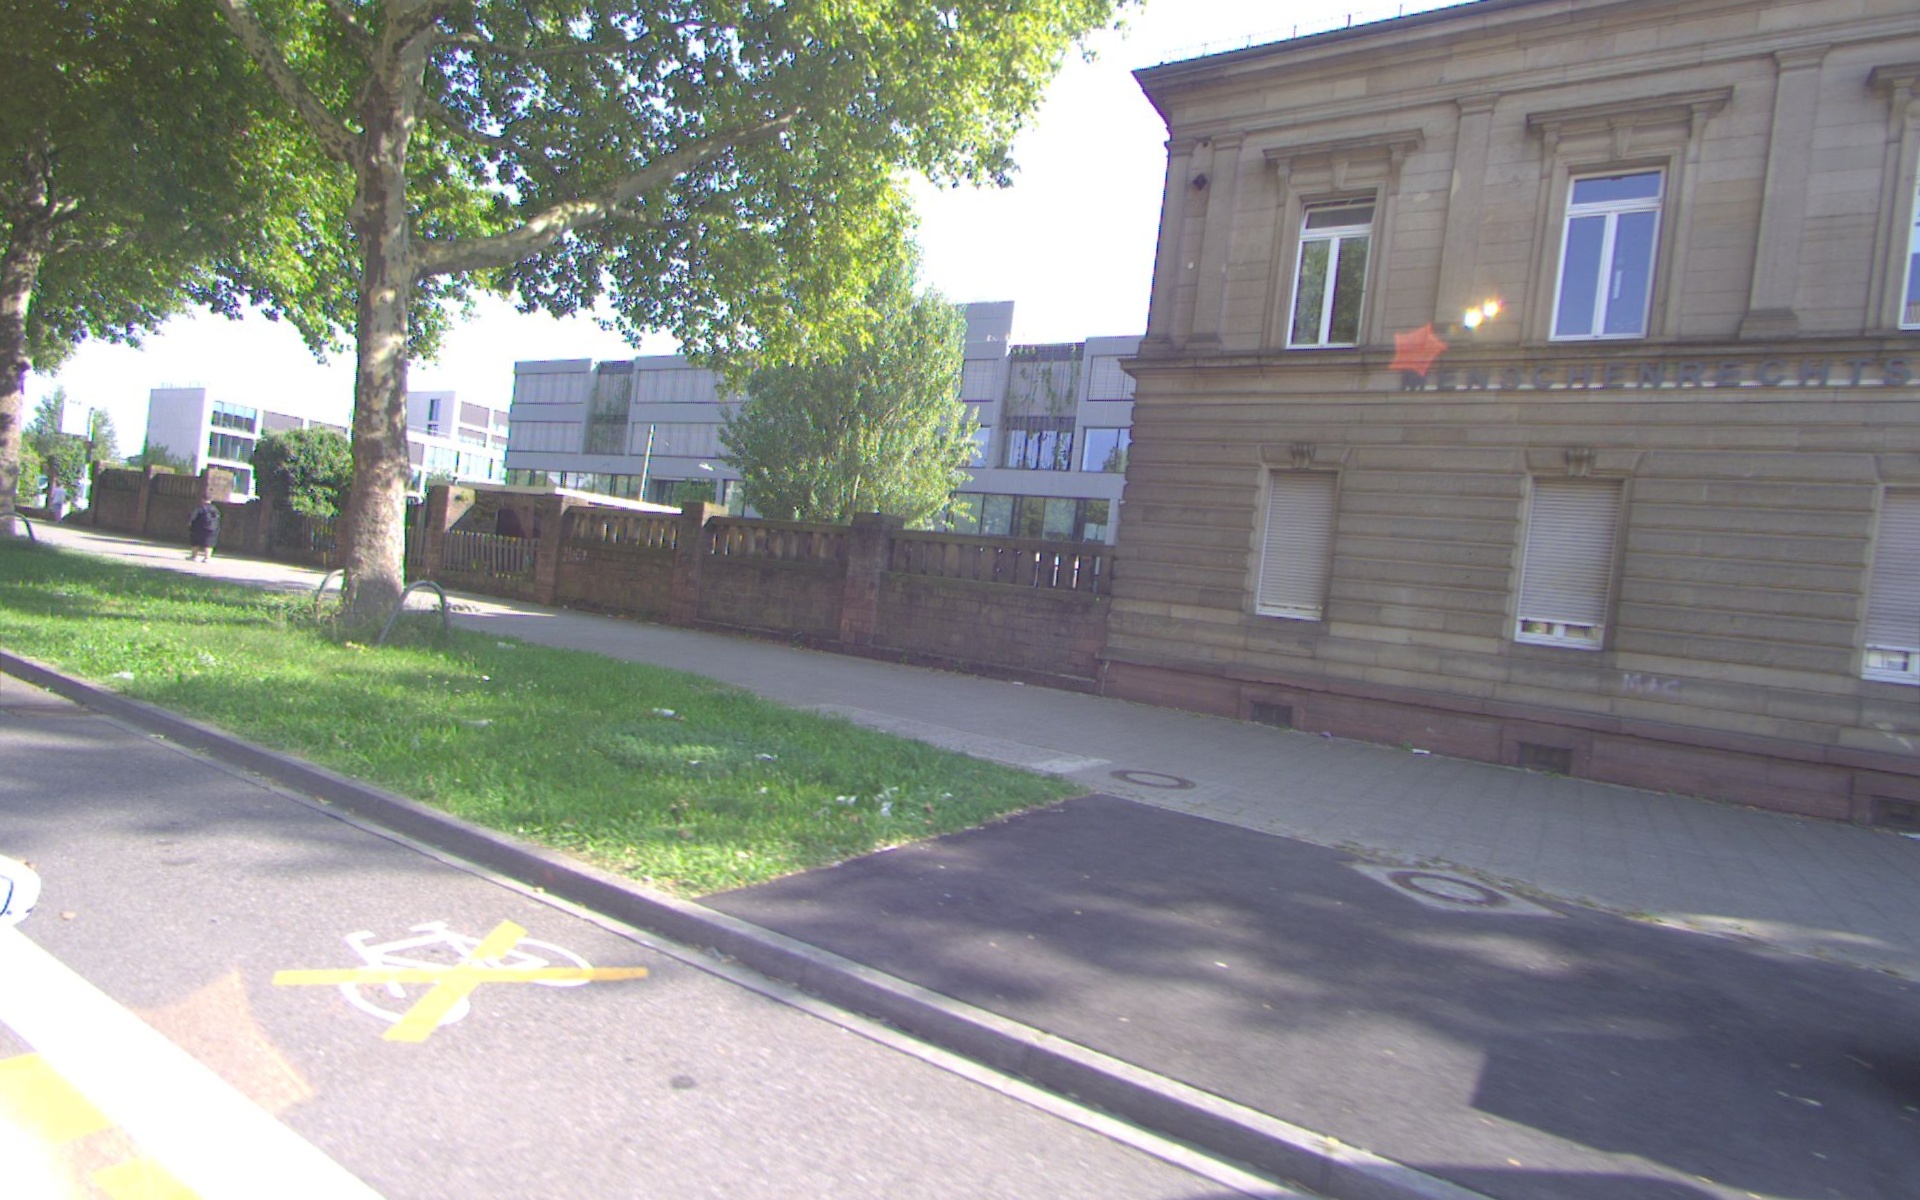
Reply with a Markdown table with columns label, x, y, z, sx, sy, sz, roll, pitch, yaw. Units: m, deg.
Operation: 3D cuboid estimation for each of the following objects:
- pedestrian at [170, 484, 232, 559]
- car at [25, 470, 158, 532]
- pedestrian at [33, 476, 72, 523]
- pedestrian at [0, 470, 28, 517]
| label | x | y | z | sx | sy | sz | roll | pitch | yaw |
| --- | --- | --- | --- | --- | --- | --- | --- | --- | --- |
| pedestrian | -18.662 | -1.925 | 24.750 | 0.995 | 1.708 | 0.819 | 7 | 2 | 32 |
| car | -44.749 | -5.083 | 51.933 | 2.022 | 2.345 | 4.669 | 7 | -1 | 32 |
| pedestrian | -34.305 | -3.804 | 38.033 | 0.931 | 1.625 | 0.806 | 7 | 3 | 32 |
| pedestrian | -35.075 | -3.942 | 37.074 | 0.931 | 1.625 | 0.806 | 7 | 3 | 32 |
